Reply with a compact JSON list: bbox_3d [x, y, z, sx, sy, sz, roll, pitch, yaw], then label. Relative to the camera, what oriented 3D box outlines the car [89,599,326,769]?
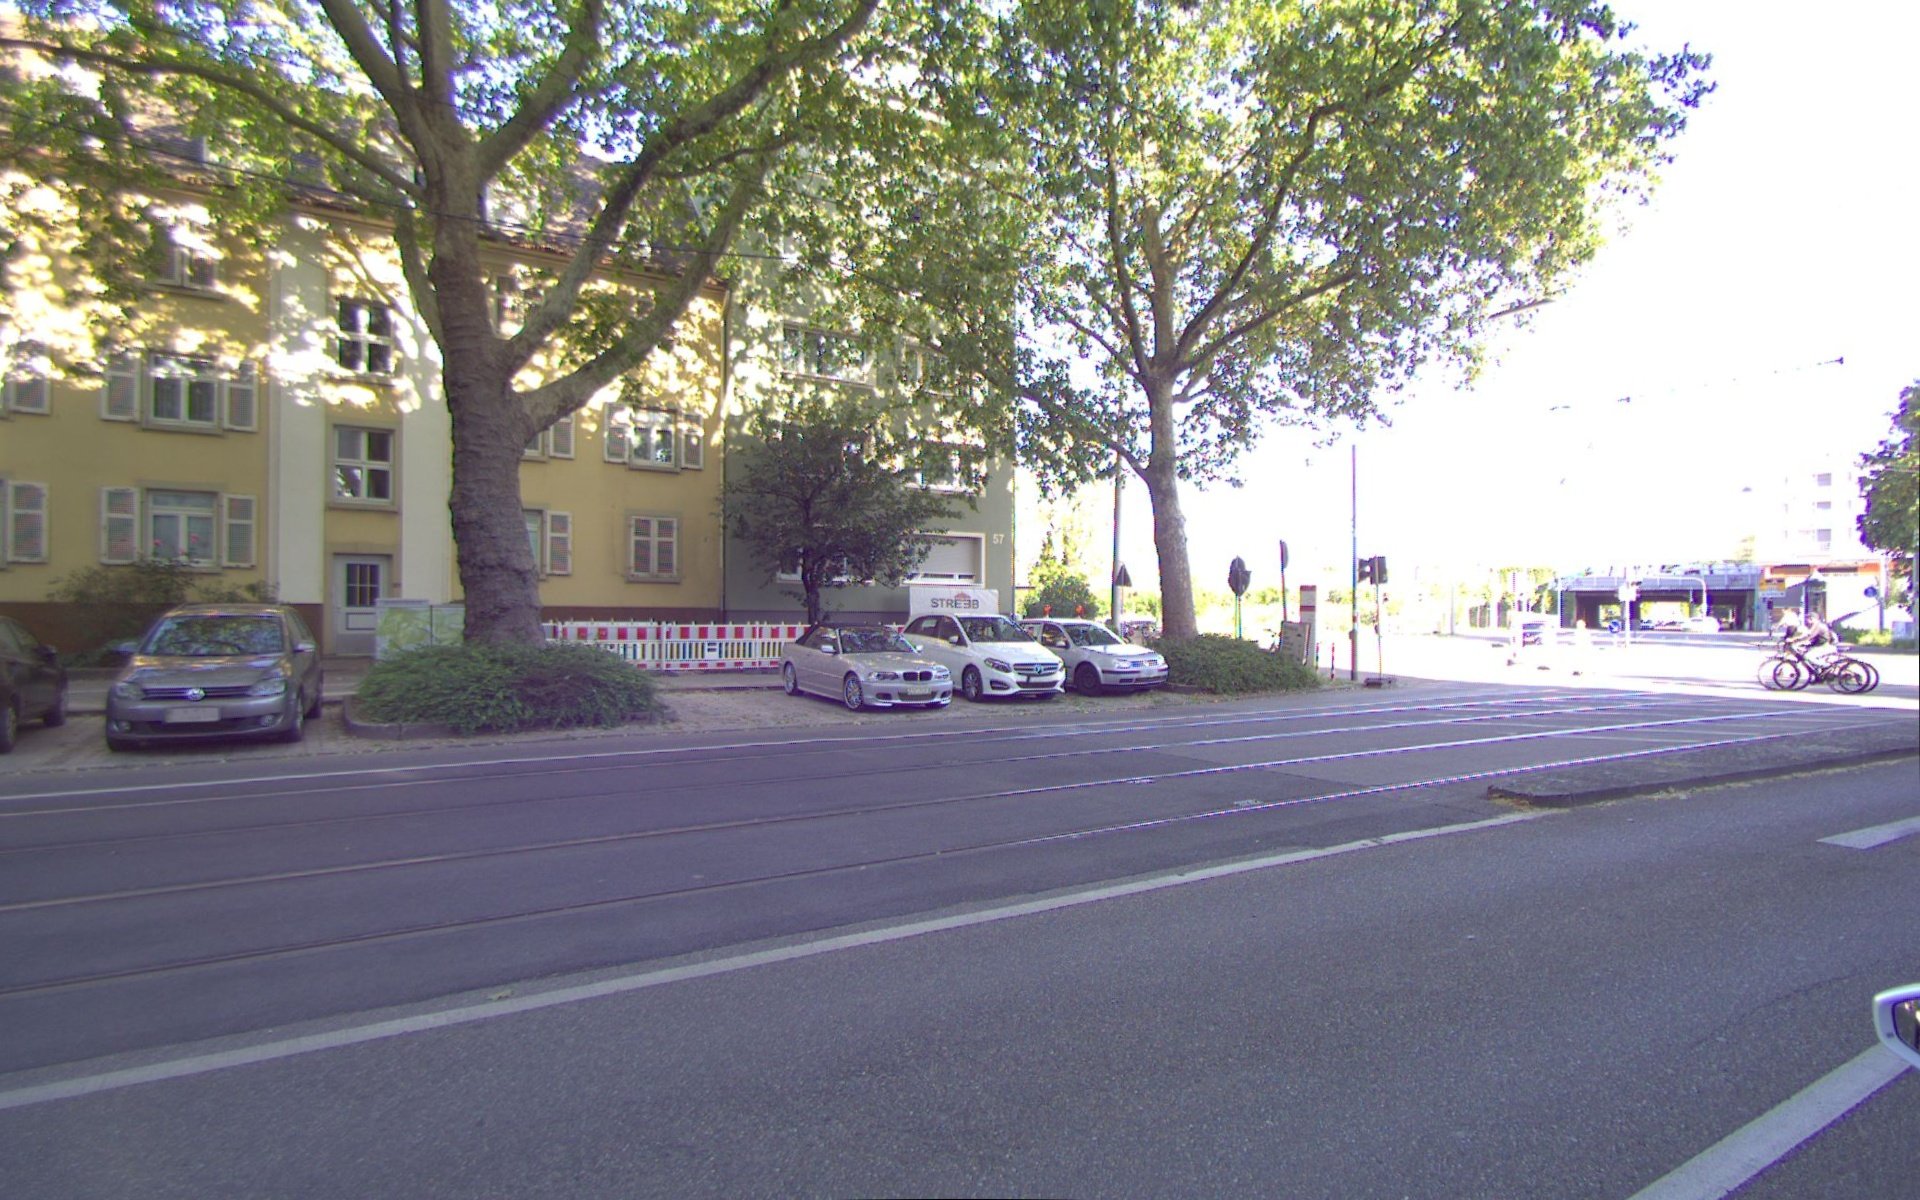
[{"bbox_3d":[-9.043,0.861,12.428,1.793,1.627,4.169,1,1,-29],"label":"car"}]

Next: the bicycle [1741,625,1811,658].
[{"bbox_3d":[28.716,1.444,35.388,0.581,1.108,2.059,0,-1,-8],"label":"bicycle"}]

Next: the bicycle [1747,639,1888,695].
[{"bbox_3d":[17.664,1.360,20.764,2.163,1.047,0.831,0,-1,38],"label":"bicycle"}]

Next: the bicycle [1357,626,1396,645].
[{"bbox_3d":[23.302,2.001,56.223,2.005,1.075,0.582,0,-1,-10],"label":"bicycle"}]

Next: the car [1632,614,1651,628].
[{"bbox_3d":[95.710,2.930,141.149,2.183,1.847,4.134,0,-1,34],"label":"car"}]

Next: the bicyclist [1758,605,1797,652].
[{"bbox_3d":[28.734,1.003,35.312,0.637,1.616,0.863,0,-1,-8],"label":"bicyclist"}]

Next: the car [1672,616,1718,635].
[{"bbox_3d":[71.542,2.482,97.735,4.127,1.829,1.728,1,-1,-22],"label":"car"}]

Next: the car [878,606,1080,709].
[{"bbox_3d":[0.214,0.995,19.481,1.777,1.640,4.587,1,1,-30],"label":"car"}]

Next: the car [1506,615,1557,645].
[{"bbox_3d":[32.422,1.685,56.944,1.803,1.539,3.876,2,1,40],"label":"car"}]

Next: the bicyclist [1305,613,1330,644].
[{"bbox_3d":[18.363,1.460,51.626,0.786,1.591,1.009,1,-1,-18],"label":"bicyclist"}]

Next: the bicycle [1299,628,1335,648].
[{"bbox_3d":[18.339,1.955,51.629,0.662,0.997,2.057,1,-1,-18],"label":"bicycle"}]

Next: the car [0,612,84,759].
[{"bbox_3d":[-11.400,0.882,11.299,1.723,1.448,3.545,1,0,-31],"label":"car"}]

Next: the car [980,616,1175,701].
[{"bbox_3d":[2.293,1.111,20.826,1.656,1.448,4.490,1,0,-30],"label":"car"}]

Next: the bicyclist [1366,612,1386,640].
[{"bbox_3d":[23.303,1.460,56.236,0.818,1.584,0.636,0,-1,-10],"label":"bicyclist"}]

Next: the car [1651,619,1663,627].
[{"bbox_3d":[142.440,4.690,205.265,1.967,1.623,4.234,0,-1,34],"label":"car"}]

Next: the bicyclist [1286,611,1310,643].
[{"bbox_3d":[18.470,1.449,54.825,0.866,1.730,0.921,1,-1,-34],"label":"bicyclist"}]

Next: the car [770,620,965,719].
[{"bbox_3d":[-1.736,1.096,17.437,1.708,1.386,4.219,1,0,-31],"label":"car"}]

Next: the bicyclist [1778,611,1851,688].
[{"bbox_3d":[17.646,1.000,20.775,1.099,1.540,0.918,0,-1,38],"label":"bicyclist"}]
